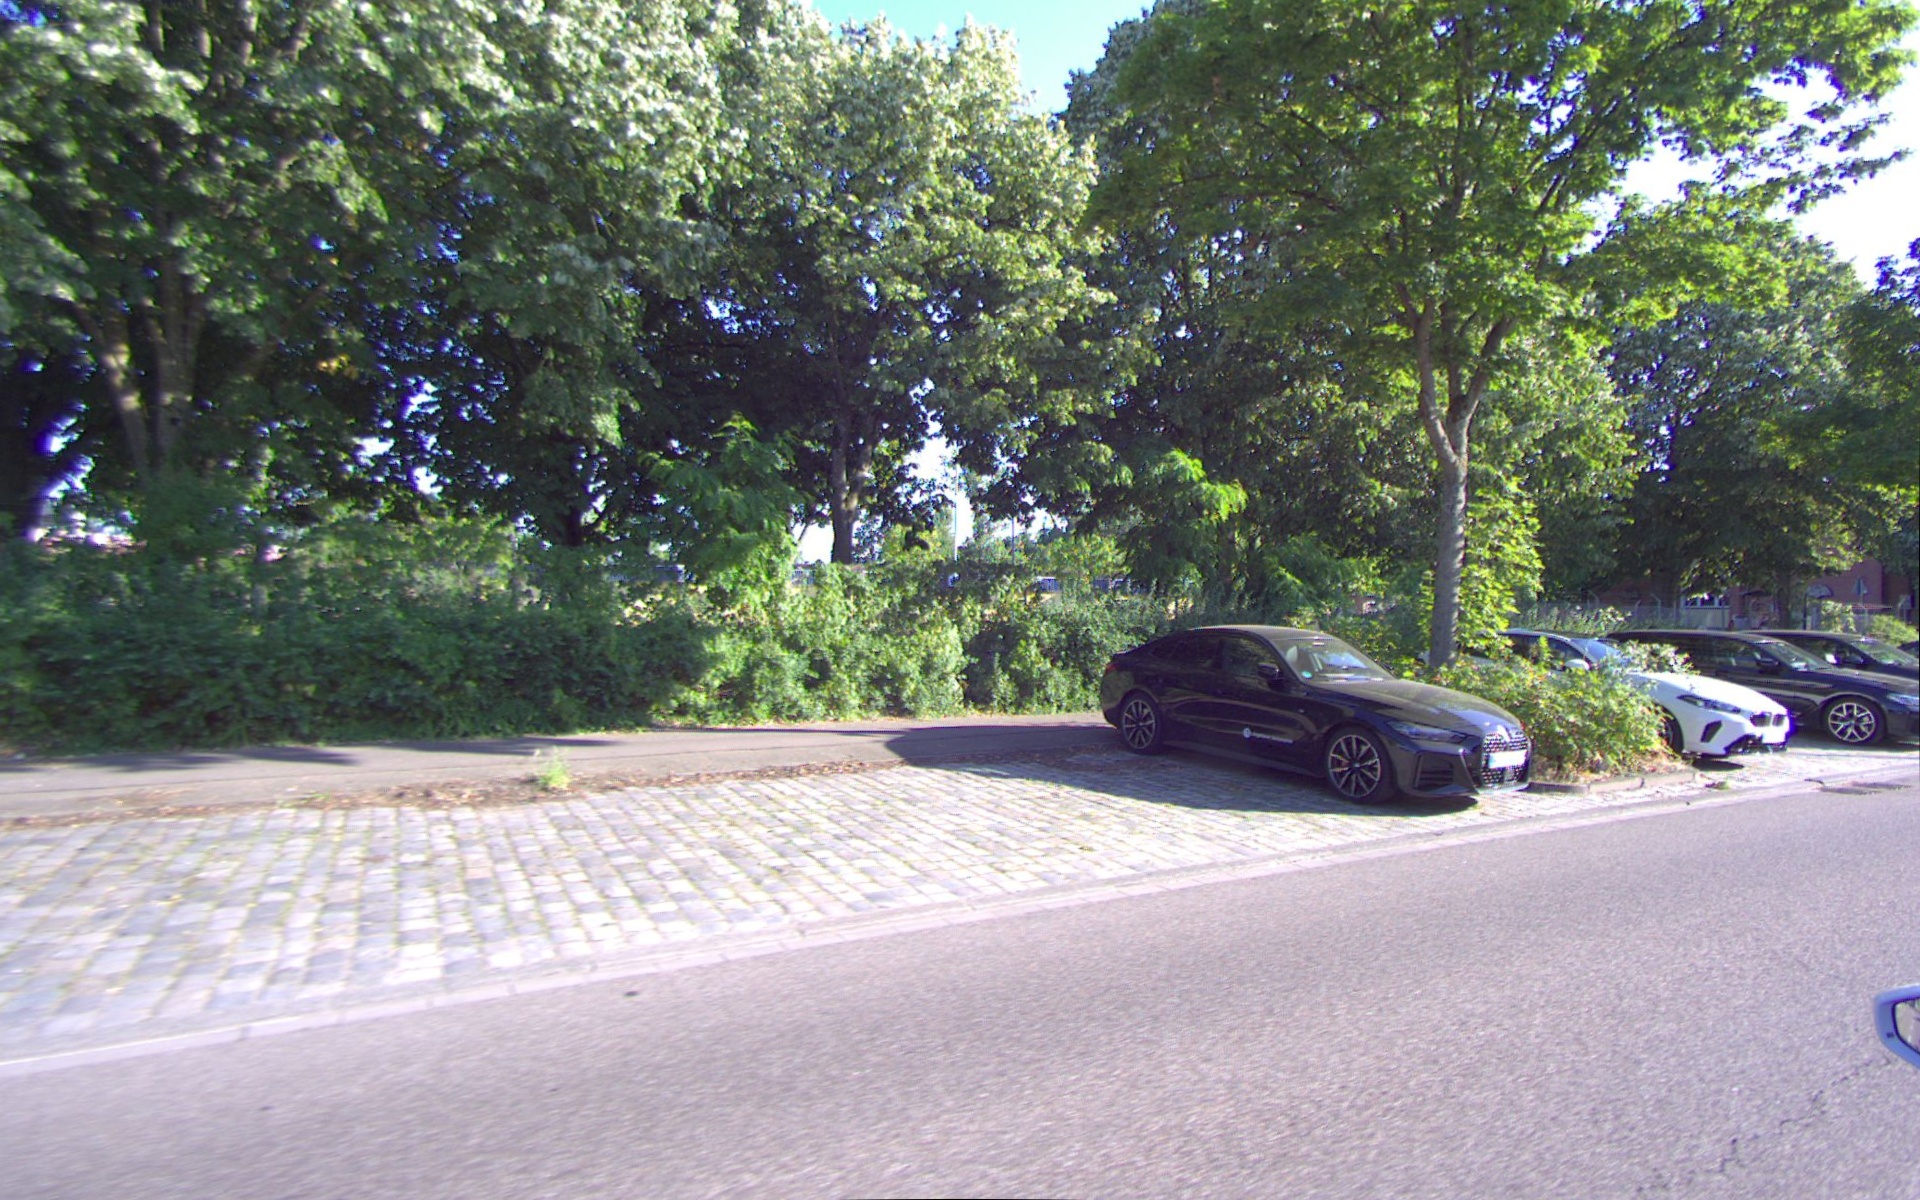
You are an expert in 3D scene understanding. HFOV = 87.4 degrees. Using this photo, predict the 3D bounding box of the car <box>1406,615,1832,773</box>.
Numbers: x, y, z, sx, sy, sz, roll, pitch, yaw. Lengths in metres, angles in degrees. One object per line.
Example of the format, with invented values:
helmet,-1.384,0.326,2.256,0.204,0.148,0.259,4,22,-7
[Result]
car,8.390,1.068,13.253,1.975,1.551,4.268,1,1,-28

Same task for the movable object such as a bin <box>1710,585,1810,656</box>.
movable object such as a bin,32.502,0.827,40.972,2.124,2.700,4.800,0,-1,25

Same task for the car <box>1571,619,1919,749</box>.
car,12.681,1.180,15.888,1.974,1.551,4.832,1,1,-27

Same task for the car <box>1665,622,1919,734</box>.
car,14.811,1.245,16.845,1.976,1.551,4.459,1,1,-29

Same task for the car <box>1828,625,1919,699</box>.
car,21.254,1.366,20.874,1.976,1.482,4.459,1,1,-29

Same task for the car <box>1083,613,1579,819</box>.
car,3.455,0.953,10.356,1.895,1.441,4.624,1,1,-31
